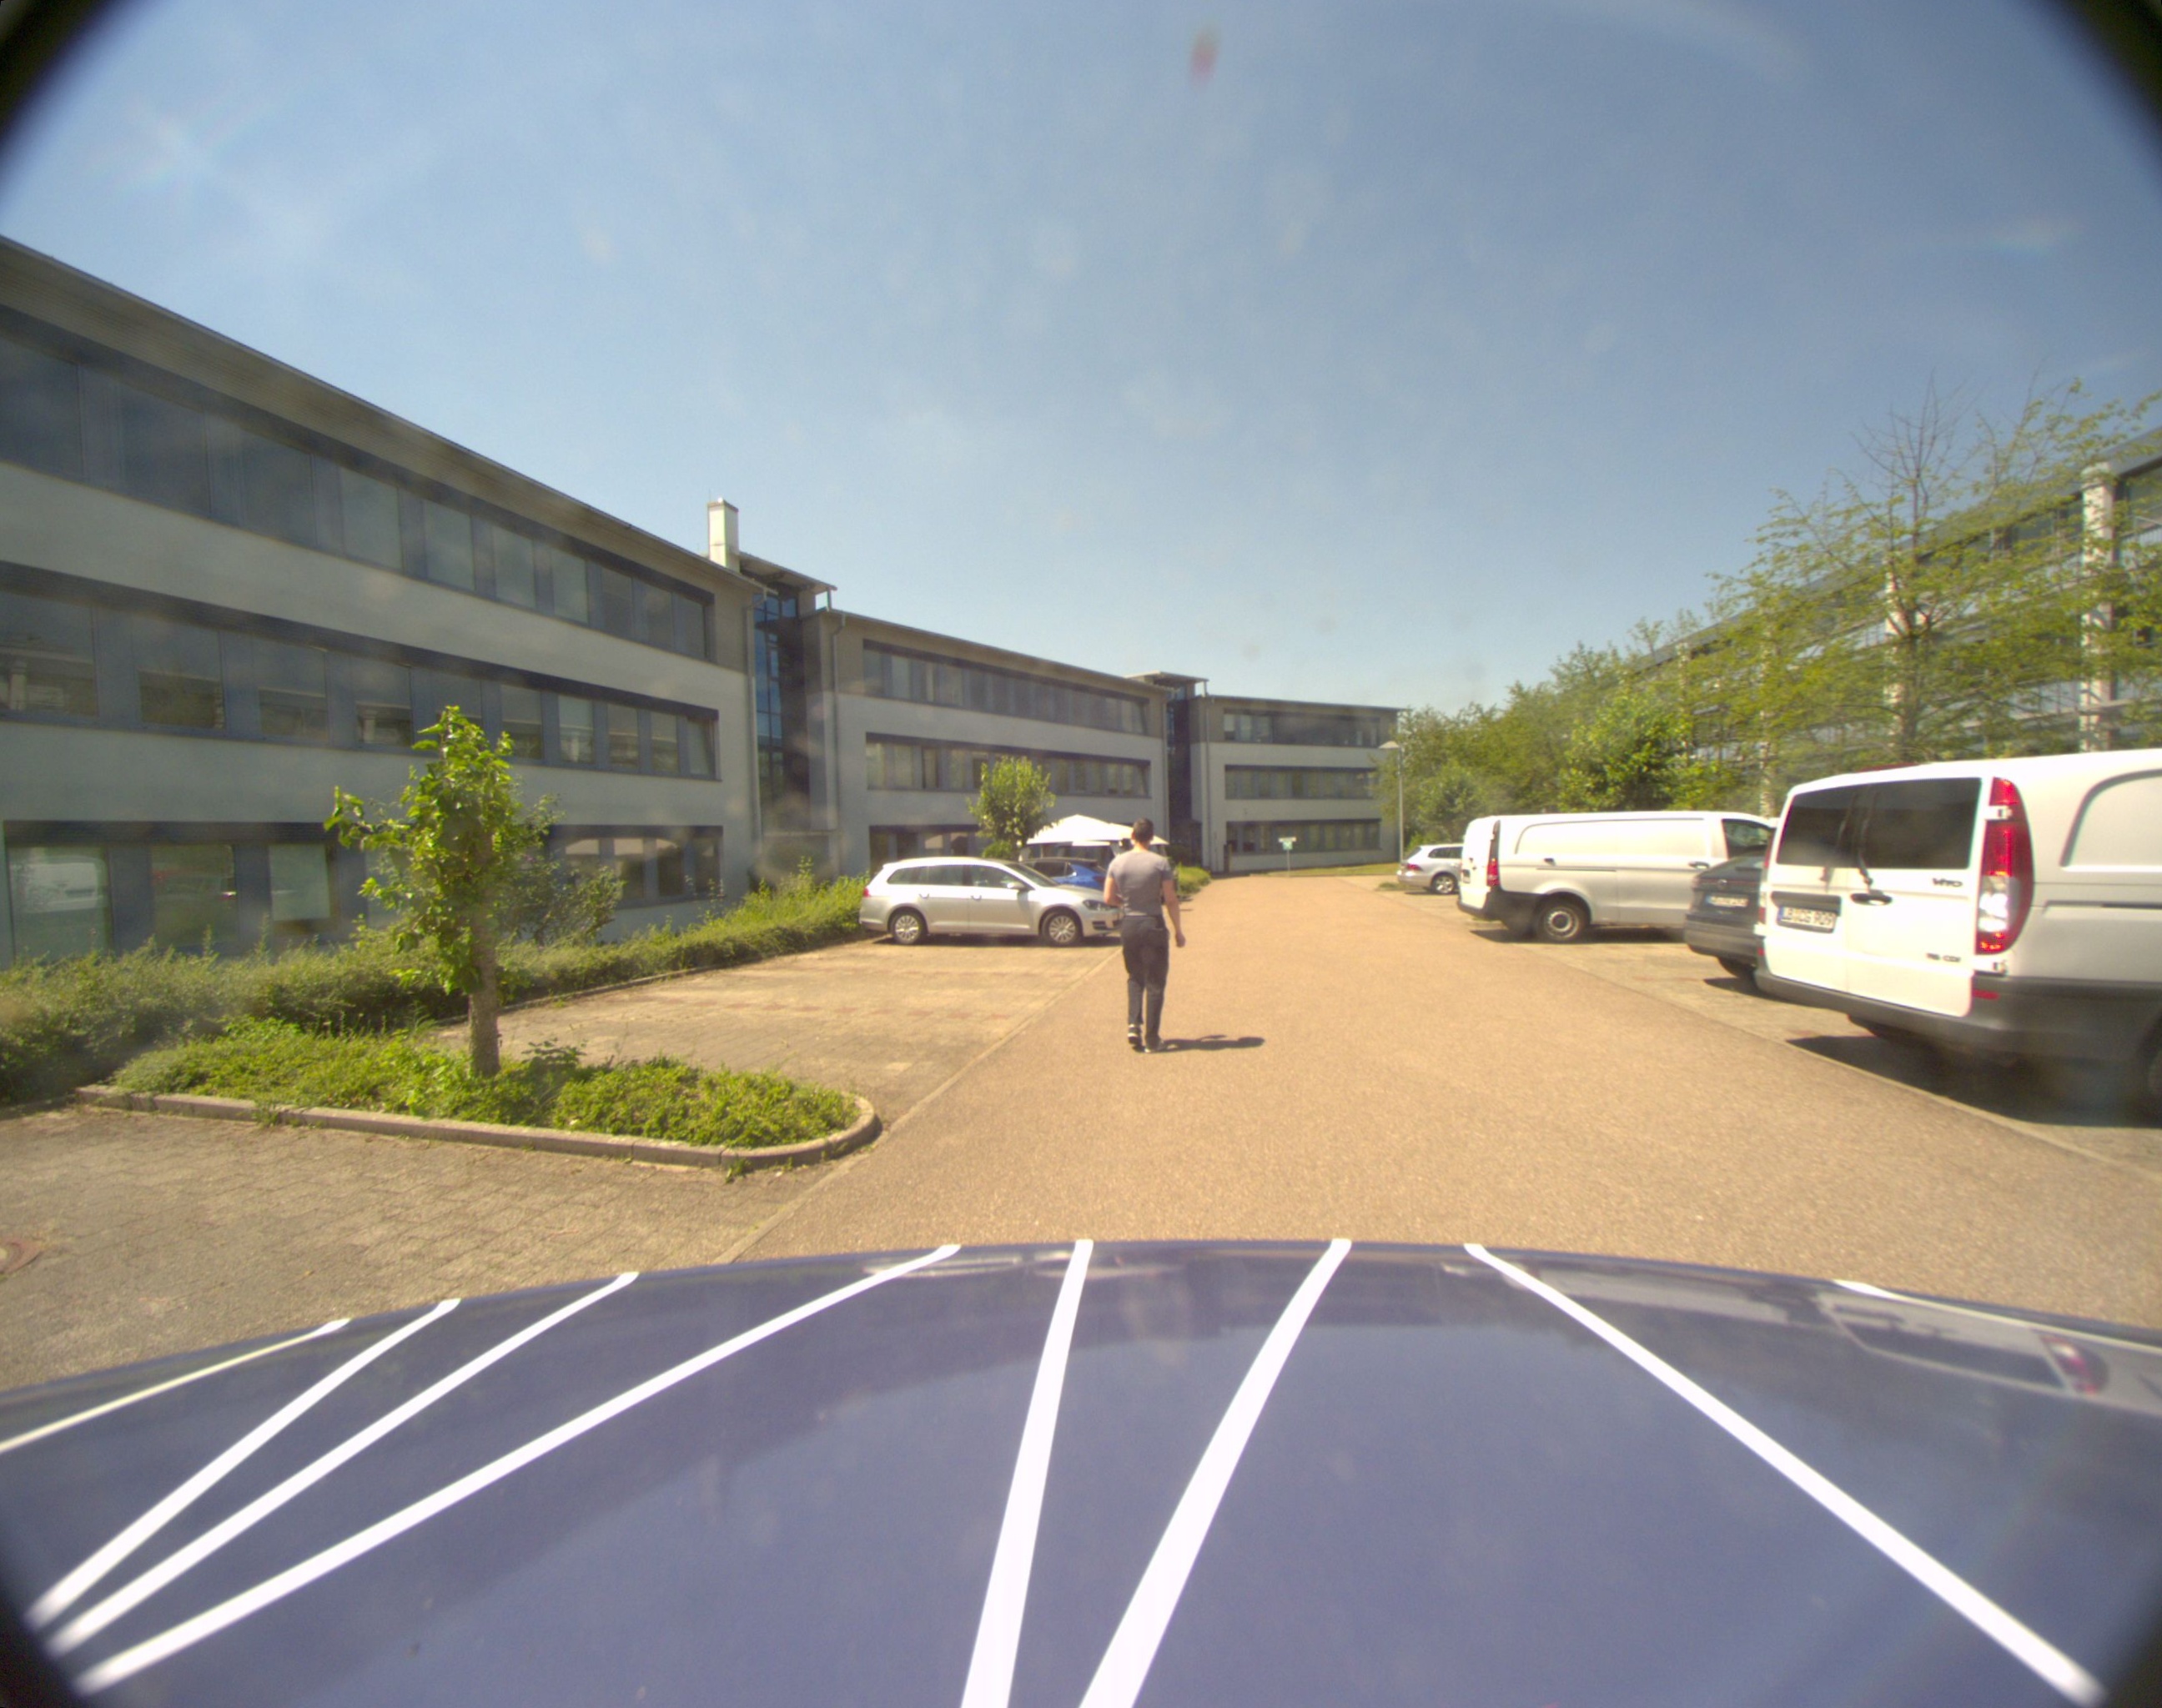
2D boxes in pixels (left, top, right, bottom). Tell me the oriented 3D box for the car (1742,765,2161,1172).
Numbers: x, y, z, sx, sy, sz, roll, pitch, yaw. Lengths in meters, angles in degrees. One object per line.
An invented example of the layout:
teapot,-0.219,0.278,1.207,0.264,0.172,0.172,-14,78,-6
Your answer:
car,6.888,0.474,4.090,4.728,1.895,1.831,-2,1,11

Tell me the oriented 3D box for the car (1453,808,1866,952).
car,8.206,0.385,11.253,4.513,1.871,1.830,-2,1,11

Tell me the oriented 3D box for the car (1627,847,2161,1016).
car,7.851,0.684,7.356,3.845,1.385,1.578,-2,1,11

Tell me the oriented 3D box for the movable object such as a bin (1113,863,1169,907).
movable object such as a bin,1.724,0.879,21.730,1.362,1.183,0.998,-1,1,17

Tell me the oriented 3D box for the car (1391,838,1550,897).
car,11.129,0.370,21.947,3.759,1.549,1.662,-2,1,11

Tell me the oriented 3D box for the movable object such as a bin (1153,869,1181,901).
movable object such as a bin,2.665,0.948,23.536,0.690,0.944,0.723,-1,1,17

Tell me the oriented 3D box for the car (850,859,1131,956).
car,-1.494,0.868,13.285,4.513,1.489,1.830,-1,1,11

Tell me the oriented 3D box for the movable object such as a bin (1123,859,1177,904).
movable object such as a bin,2.080,0.815,22.730,1.362,1.288,1.044,-1,1,17

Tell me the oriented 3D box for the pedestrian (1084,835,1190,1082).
pedestrian,0.455,0.743,5.831,0.617,1.747,0.789,-1,1,16

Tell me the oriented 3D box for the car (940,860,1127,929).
car,-1.004,0.838,16.829,3.821,1.384,1.653,0,1,11
